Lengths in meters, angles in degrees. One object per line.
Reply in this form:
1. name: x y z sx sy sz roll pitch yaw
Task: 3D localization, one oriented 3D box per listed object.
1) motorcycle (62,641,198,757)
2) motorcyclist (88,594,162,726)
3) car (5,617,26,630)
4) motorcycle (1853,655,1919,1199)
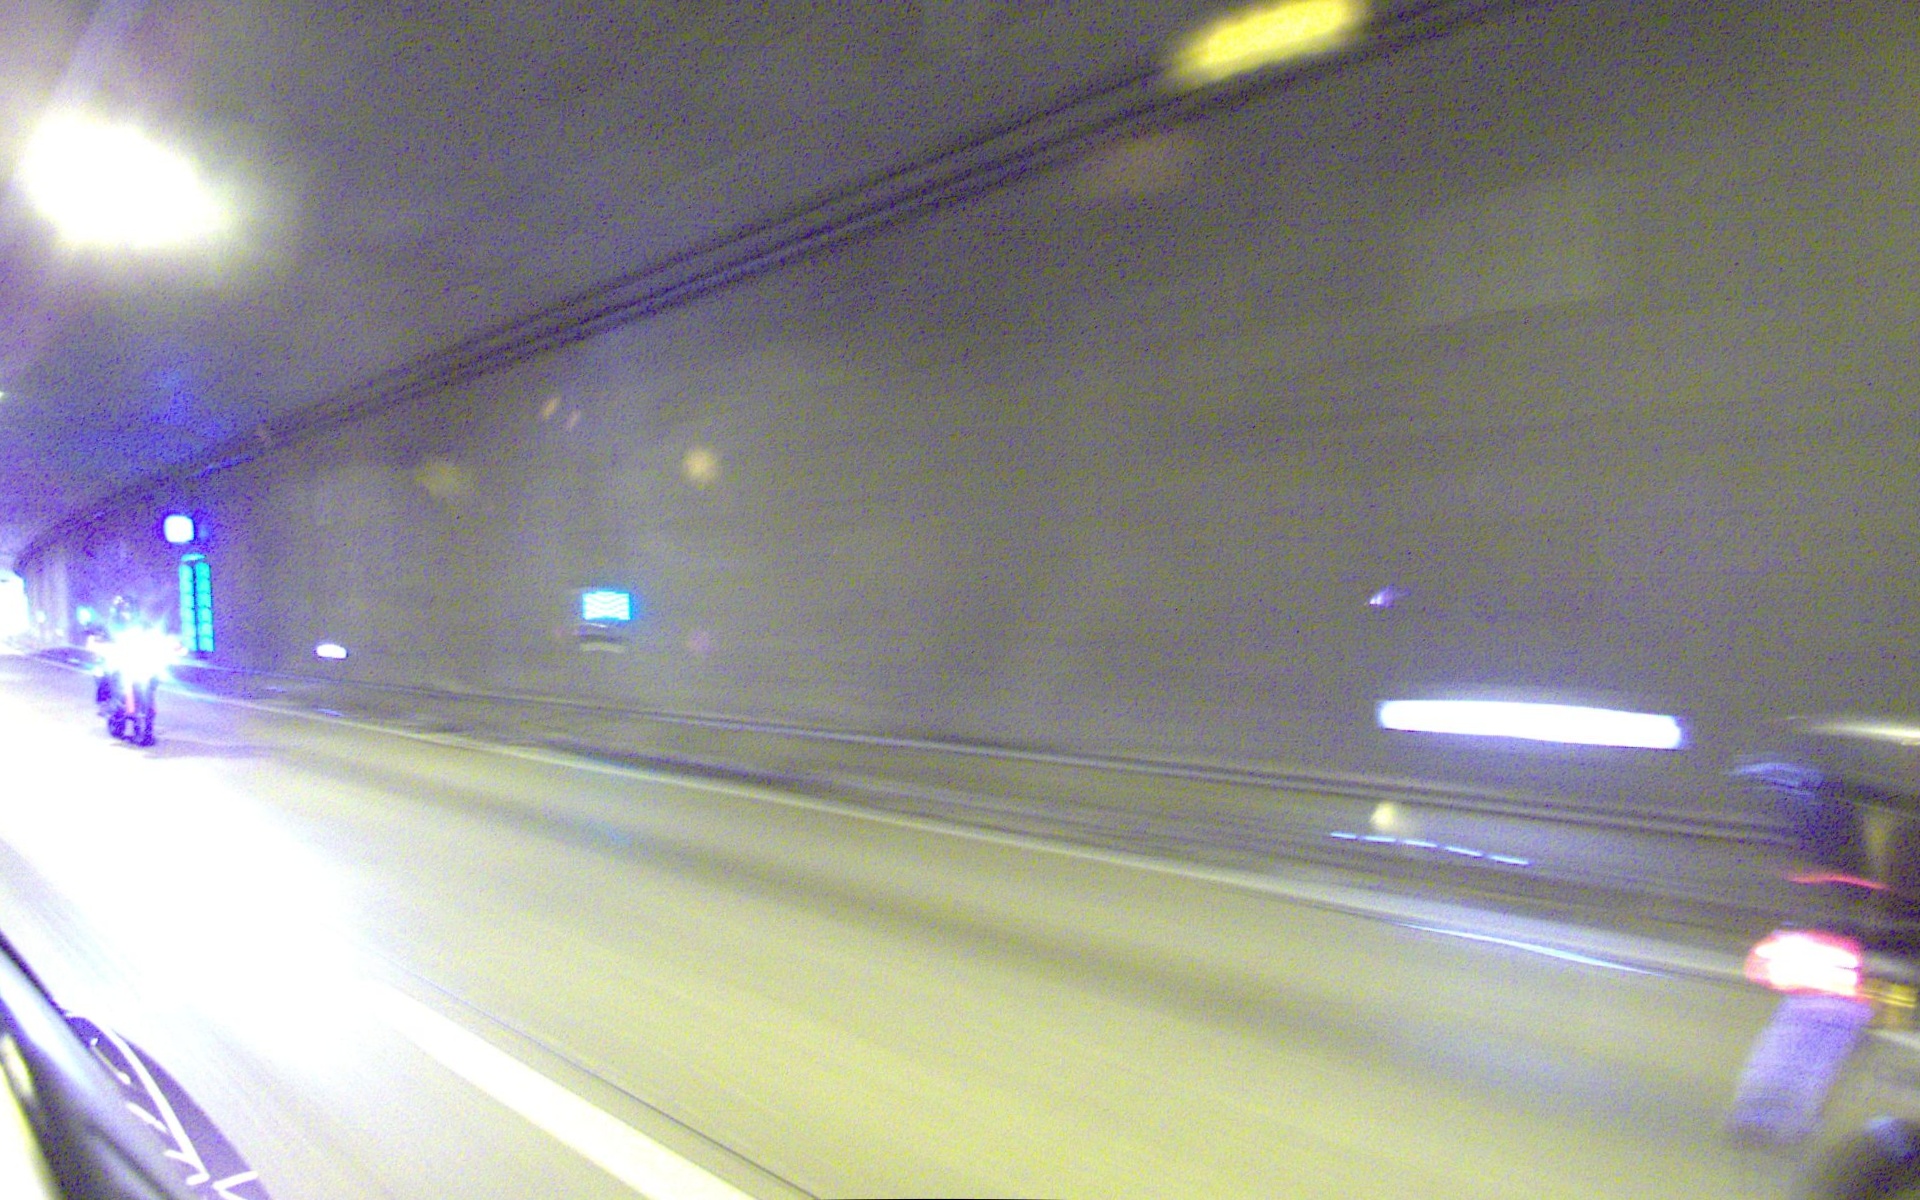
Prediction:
1. motorcycle: -9.913 1.105 12.042 1.041 1.166 2.429 0 -1 -45
2. motorcyclist: -9.923 0.689 12.017 0.619 1.500 0.891 0 -1 -43
3. car: -147.347 3.632 157.837 1.968 1.812 4.008 -2 1 -37
4. motorcycle: 2.455 0.726 0.788 2.602 1.255 0.837 0 0 41
